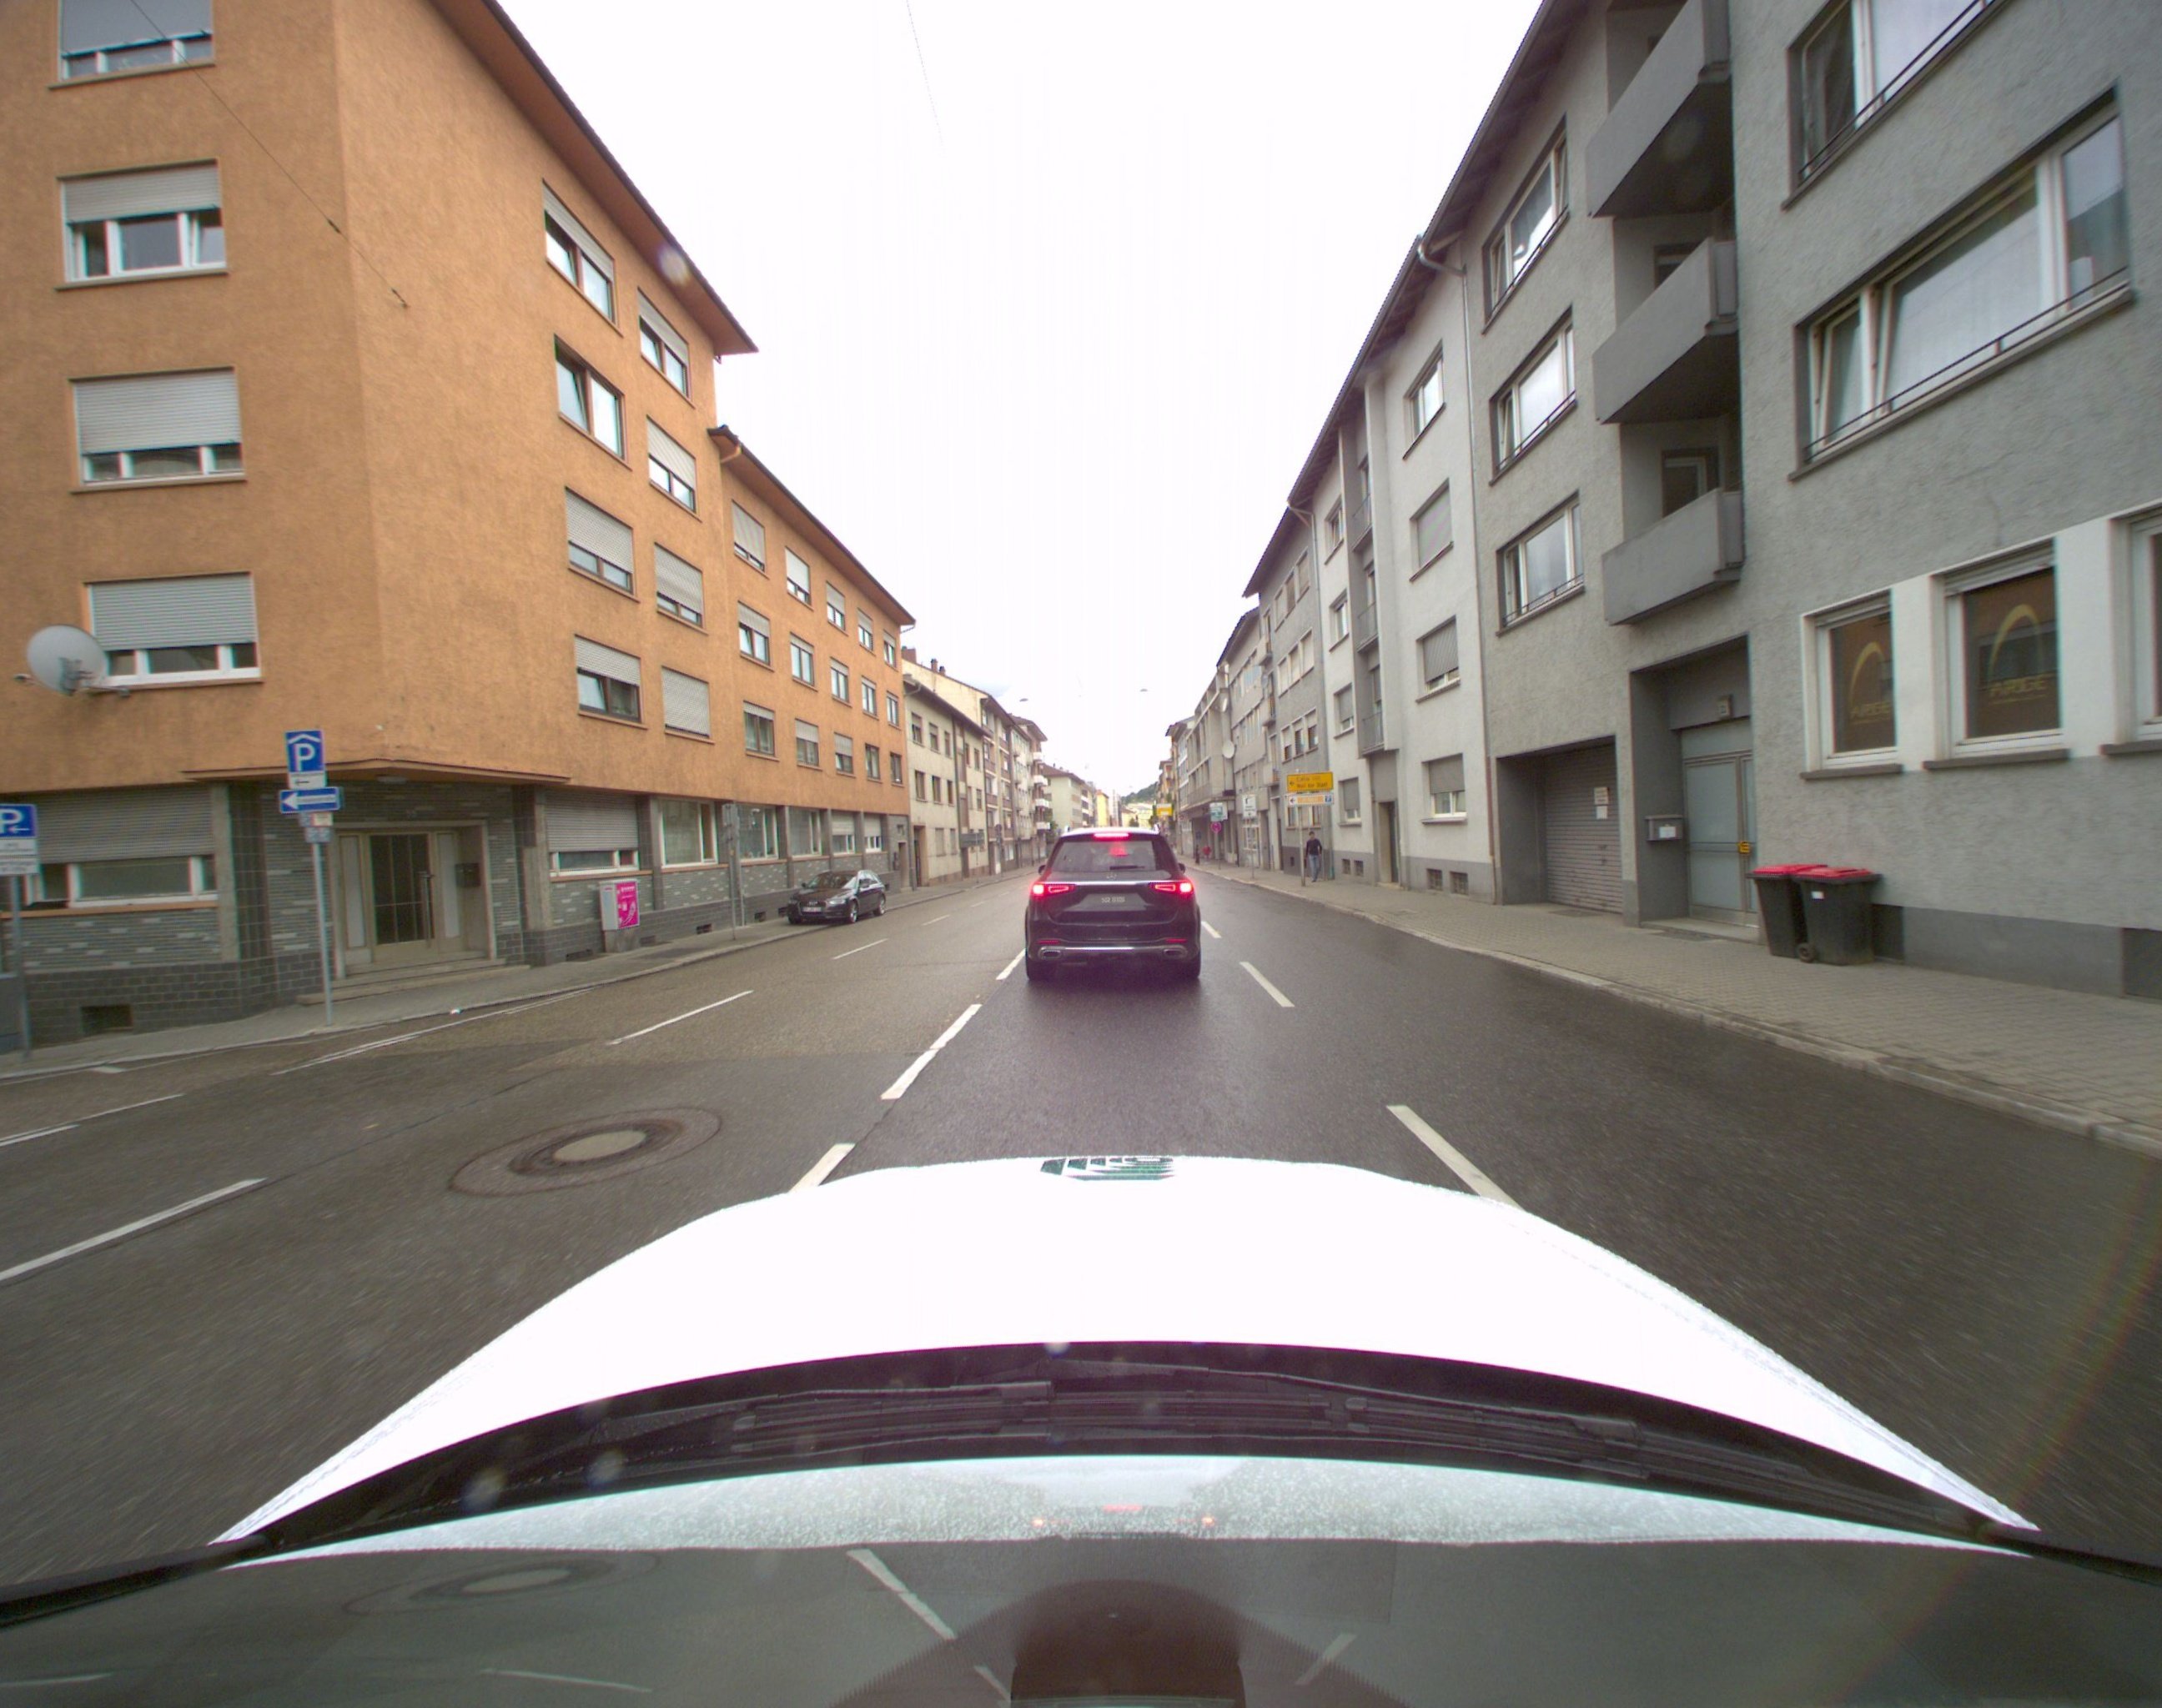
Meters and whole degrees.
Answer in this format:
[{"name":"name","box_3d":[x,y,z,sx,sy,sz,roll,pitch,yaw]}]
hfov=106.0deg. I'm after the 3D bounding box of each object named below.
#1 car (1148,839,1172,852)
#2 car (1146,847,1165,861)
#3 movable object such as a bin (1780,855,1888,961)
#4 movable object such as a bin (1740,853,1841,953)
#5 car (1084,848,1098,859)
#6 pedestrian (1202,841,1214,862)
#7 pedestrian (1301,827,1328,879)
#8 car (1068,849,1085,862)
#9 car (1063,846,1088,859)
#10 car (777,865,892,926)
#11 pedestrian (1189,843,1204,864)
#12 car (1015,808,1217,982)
[{"name":"car","box_3d":[13.052,-1.368,134.574,3.967,2.013,2.003,-2,1,5]},{"name":"car","box_3d":[7.865,0.009,86.623,1.728,1.388,4.585,-2,1,2]},{"name":"movable object such as a bin","box_3d":[7.431,0.517,8.059,0.471,0.962,0.565,-6,0,4]},{"name":"movable object such as a bin","box_3d":[7.480,0.508,8.605,0.560,0.962,0.475,-6,0,5]},{"name":"car","box_3d":[1.464,-0.123,115.560,1.884,1.458,4.551,-2,1,2]},{"name":"pedestrian","box_3d":[9.721,-0.205,62.564,0.817,1.565,0.901,-2,1,5]},{"name":"pedestrian","box_3d":[8.134,-0.032,28.371,0.652,1.752,0.743,-5,0,8]},{"name":"car","box_3d":[-0.479,0.134,97.304,1.884,1.458,4.550,-2,1,1]},{"name":"car","box_3d":[-0.890,-0.292,134.674,3.967,2.013,2.003,-2,1,5]},{"name":"car","box_3d":[-7.134,1.146,24.067,1.884,1.458,4.550,-2,1,1]},{"name":"pedestrian","box_3d":[8.877,-0.037,62.618,0.823,1.565,0.893,-2,1,-20]},{"name":"car","box_3d":[0.434,0.388,10.843,2.068,1.765,4.613,-2,1,2]}]
